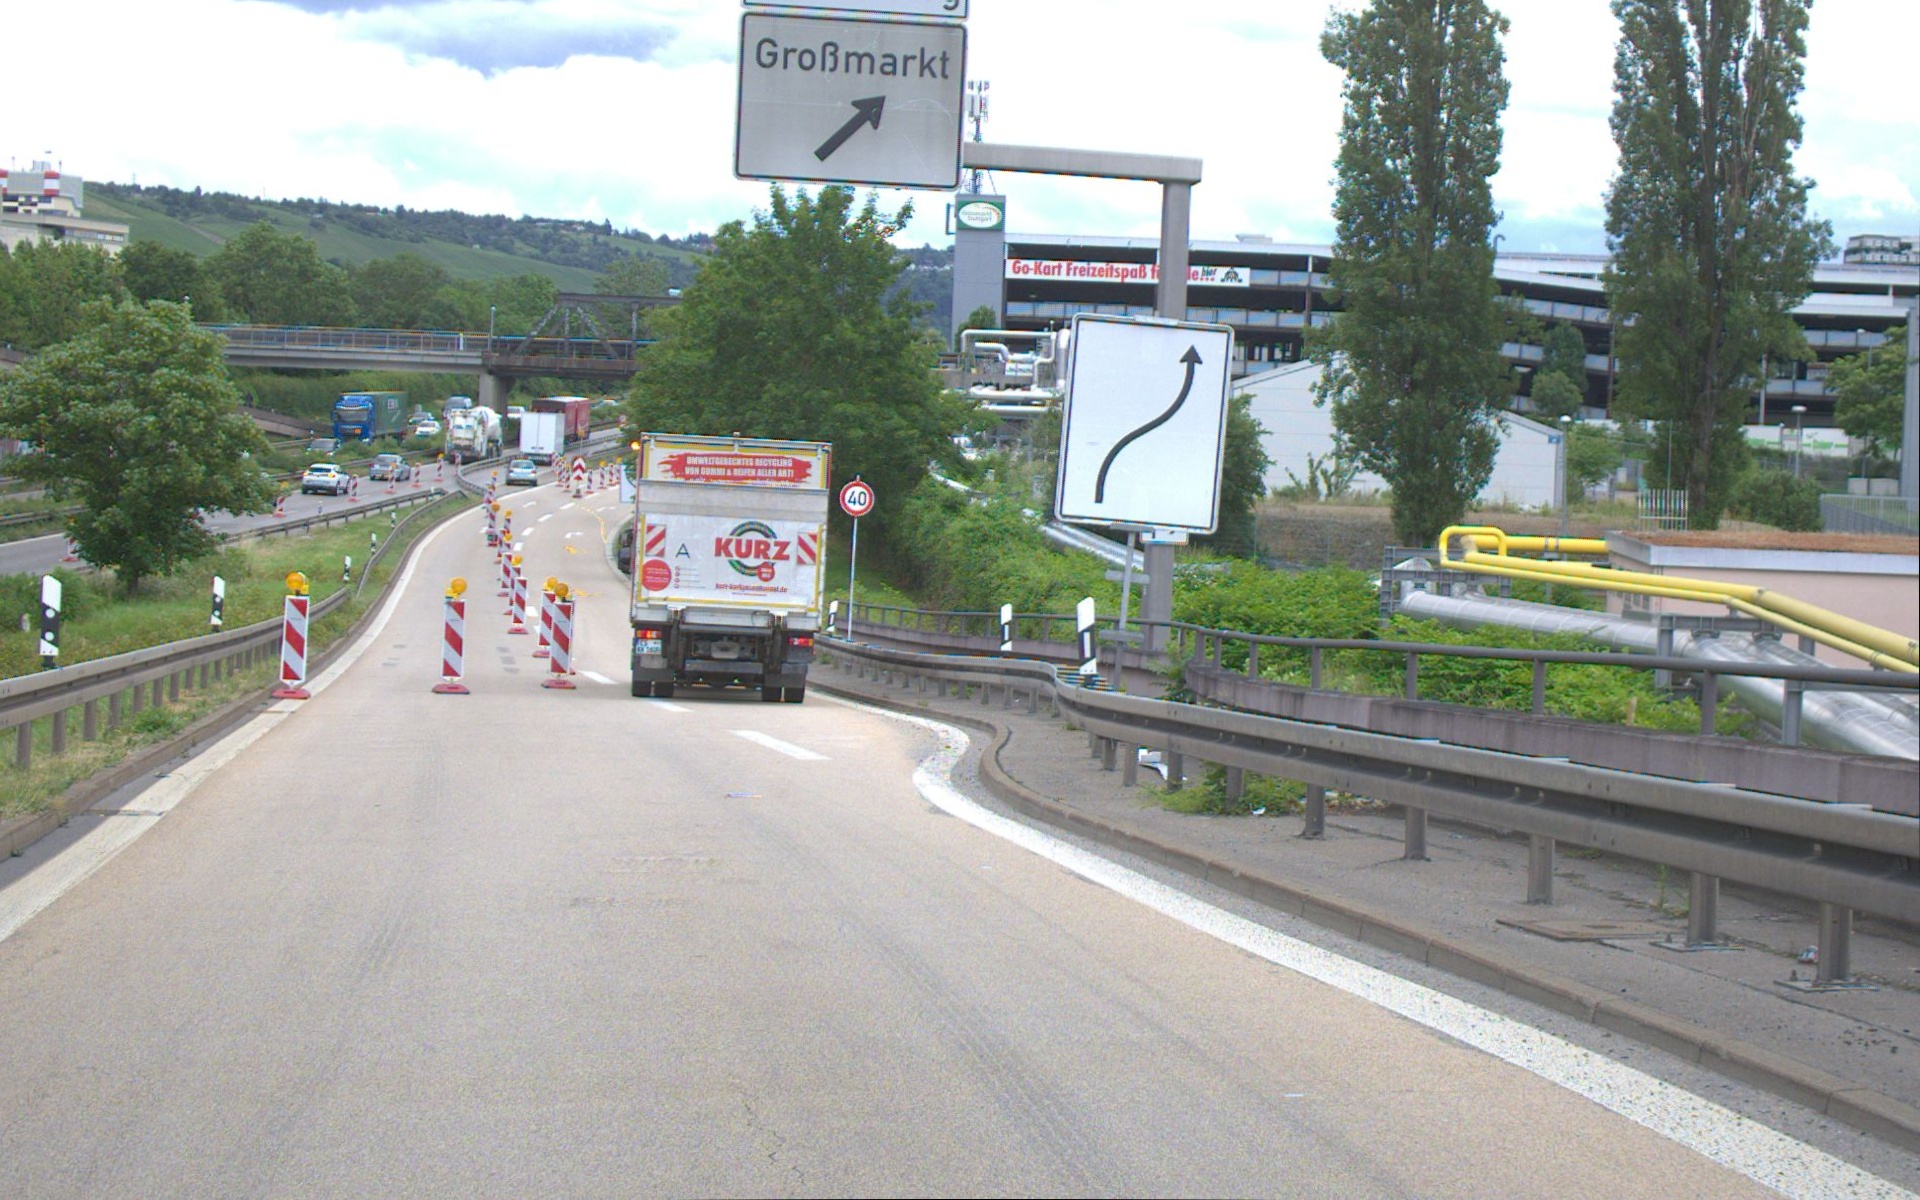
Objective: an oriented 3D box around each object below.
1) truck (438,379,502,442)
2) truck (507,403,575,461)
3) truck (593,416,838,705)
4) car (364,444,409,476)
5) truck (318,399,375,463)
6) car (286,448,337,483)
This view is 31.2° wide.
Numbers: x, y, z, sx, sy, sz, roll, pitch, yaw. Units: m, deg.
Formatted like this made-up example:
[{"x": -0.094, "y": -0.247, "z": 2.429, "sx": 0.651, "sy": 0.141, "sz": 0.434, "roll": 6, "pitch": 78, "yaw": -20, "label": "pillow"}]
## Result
[{"x": -31.552, "y": -12.216, "z": 221.448, "sx": 3.286, "sy": 3.839, "sz": 7.667, "roll": 3, "pitch": 3, "yaw": -3, "label": "truck"}, {"x": -27.654, "y": -11.120, "z": 227.194, "sx": 3.286, "sy": 3.587, "sz": 7.665, "roll": 3, "pitch": 3, "yaw": 1, "label": "truck"}, {"x": -3.550, "y": -0.564, "z": 49.147, "sx": 3.050, "sy": 3.660, "sz": 7.929, "roll": 3, "pitch": 0, "yaw": -5, "label": "truck"}, {"x": -32.095, "y": -7.822, "z": 192.391, "sx": 1.993, "sy": 1.612, "sz": 4.001, "roll": 3, "pitch": 3, "yaw": -3, "label": "car"}, {"x": -42.580, "y": -11.758, "z": 238.603, "sx": 2.752, "sy": 4.257, "sz": 5.504, "roll": 3, "pitch": 3, "yaw": 1, "label": "truck"}, {"x": -32.599, "y": -6.781, "z": 172.896, "sx": 1.993, "sy": 1.612, "sz": 4.001, "roll": 3, "pitch": 3, "yaw": -3, "label": "car"}]
